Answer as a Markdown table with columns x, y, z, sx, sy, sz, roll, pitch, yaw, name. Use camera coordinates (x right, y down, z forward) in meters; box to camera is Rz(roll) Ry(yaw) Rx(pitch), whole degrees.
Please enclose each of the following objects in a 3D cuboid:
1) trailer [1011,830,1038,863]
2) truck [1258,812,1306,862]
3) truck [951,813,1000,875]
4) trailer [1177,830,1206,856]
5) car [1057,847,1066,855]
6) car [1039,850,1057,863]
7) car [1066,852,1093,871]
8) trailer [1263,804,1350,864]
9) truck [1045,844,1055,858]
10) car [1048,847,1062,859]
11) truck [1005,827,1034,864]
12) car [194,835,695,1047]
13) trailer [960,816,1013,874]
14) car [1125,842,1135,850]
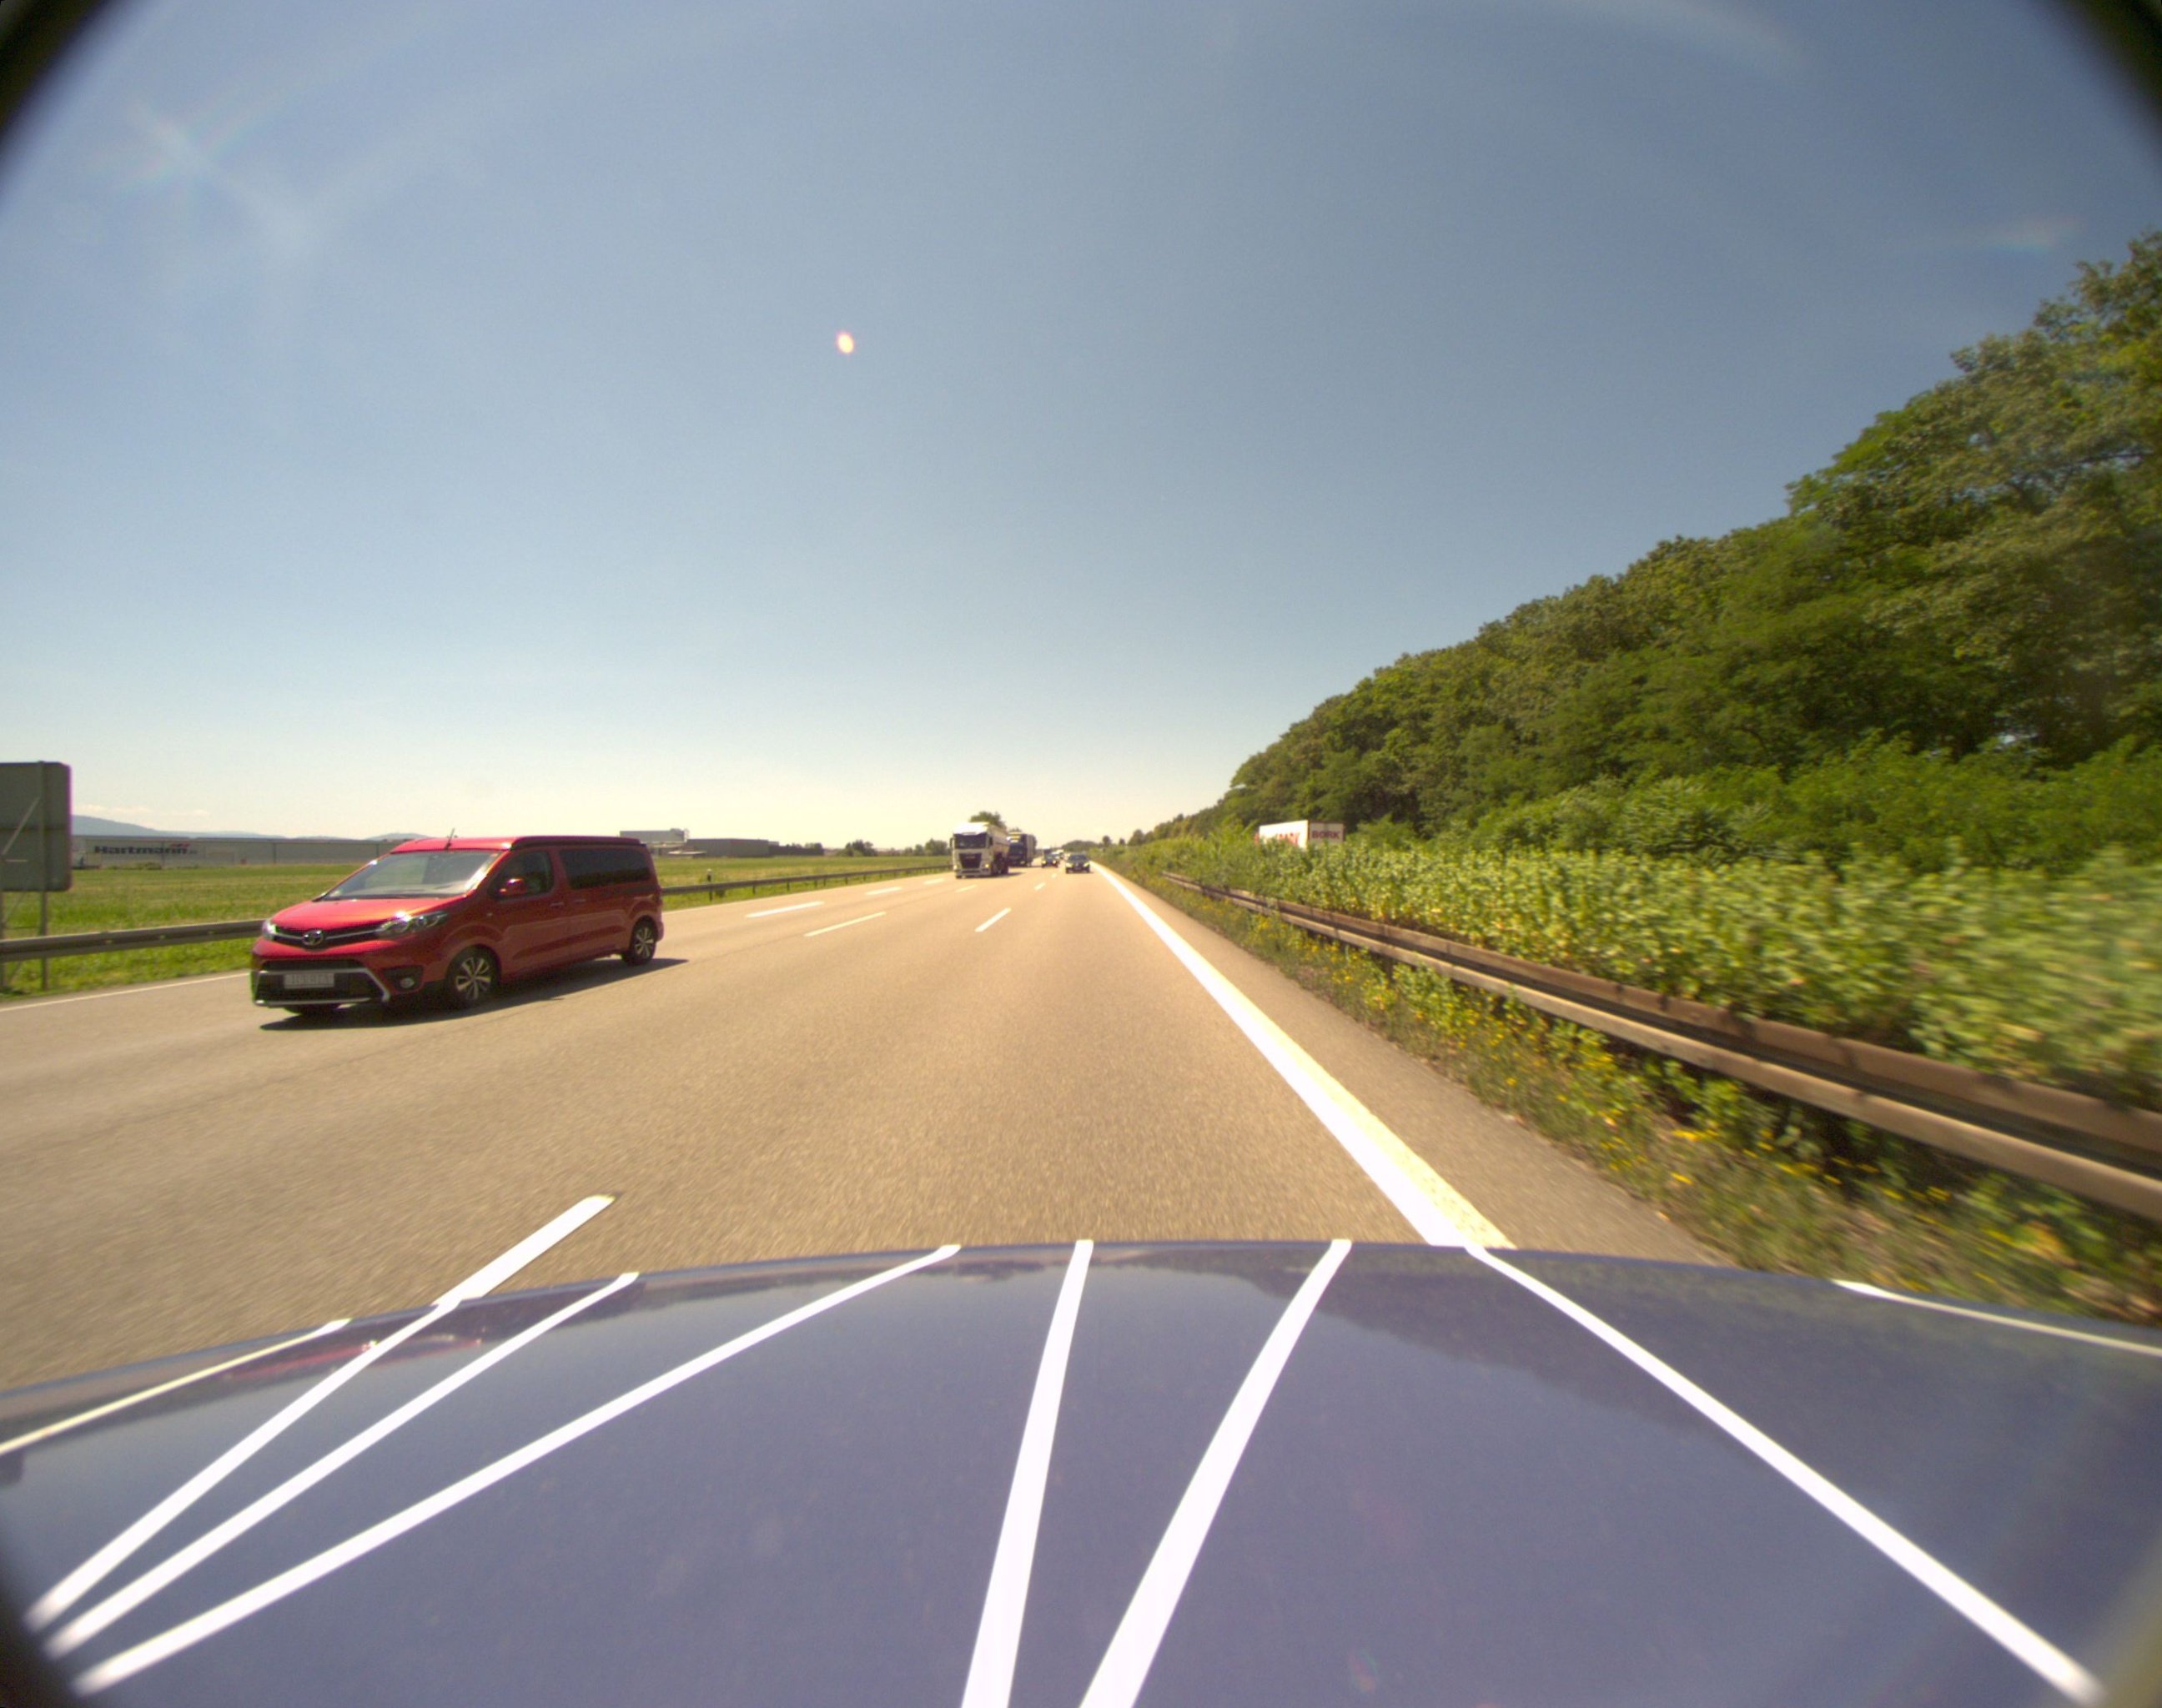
| x | y | z | sx | sy | sz | roll | pitch | yaw | name |
| --- | --- | --- | --- | --- | --- | --- | --- | --- | --- |
| -7.511 | -0.995 | 102.211 | 2.797 | 4.180 | 10.805 | -1 | 0 | -1 | trailer |
| 16.977 | -1.397 | 64.332 | 2.928 | 4.026 | 4.295 | -1 | 1 | 1 | truck |
| -7.414 | -0.678 | 54.065 | 2.798 | 4.180 | 4.999 | -1 | 1 | -1 | truck |
| 17.705 | -1.694 | 122.478 | 2.841 | 4.011 | 12.912 | 1 | 0 | 0 | trailer |
| -4.584 | -0.699 | 178.276 | 1.999 | 2.002 | 3.999 | -1 | 1 | -1 | car |
| -3.649 | 0.264 | 84.303 | 1.841 | 1.409 | 4.496 | -1 | 0 | -2 | car |
| -0.156 | 0.567 | 58.458 | 1.887 | 1.341 | 4.466 | -1 | 0 | -2 | car |
| 16.924 | -1.374 | 58.167 | 2.928 | 4.026 | 12.914 | -1 | 0 | 1 | trailer |
| -9.568 | -0.945 | 233.949 | 2.798 | 4.180 | 10.803 | -1 | 0 | -2 | truck |
| -3.877 | -0.161 | 113.054 | 1.887 | 1.634 | 3.999 | -1 | 0 | -1 | car |
| -7.401 | -0.967 | 92.977 | 2.797 | 4.180 | 10.805 | -1 | 0 | -1 | truck |
| -7.552 | 0.819 | 10.099 | 1.860 | 1.991 | 5.521 | -2 | 1 | 1 | car |
| -7.492 | -0.683 | 61.743 | 2.797 | 4.180 | 12.351 | -1 | 0 | -1 | trailer |
| 11.608 | -1.919 | 179.676 | 2.054 | 2.002 | 4.000 | -1 | 1 | 1 | car |
